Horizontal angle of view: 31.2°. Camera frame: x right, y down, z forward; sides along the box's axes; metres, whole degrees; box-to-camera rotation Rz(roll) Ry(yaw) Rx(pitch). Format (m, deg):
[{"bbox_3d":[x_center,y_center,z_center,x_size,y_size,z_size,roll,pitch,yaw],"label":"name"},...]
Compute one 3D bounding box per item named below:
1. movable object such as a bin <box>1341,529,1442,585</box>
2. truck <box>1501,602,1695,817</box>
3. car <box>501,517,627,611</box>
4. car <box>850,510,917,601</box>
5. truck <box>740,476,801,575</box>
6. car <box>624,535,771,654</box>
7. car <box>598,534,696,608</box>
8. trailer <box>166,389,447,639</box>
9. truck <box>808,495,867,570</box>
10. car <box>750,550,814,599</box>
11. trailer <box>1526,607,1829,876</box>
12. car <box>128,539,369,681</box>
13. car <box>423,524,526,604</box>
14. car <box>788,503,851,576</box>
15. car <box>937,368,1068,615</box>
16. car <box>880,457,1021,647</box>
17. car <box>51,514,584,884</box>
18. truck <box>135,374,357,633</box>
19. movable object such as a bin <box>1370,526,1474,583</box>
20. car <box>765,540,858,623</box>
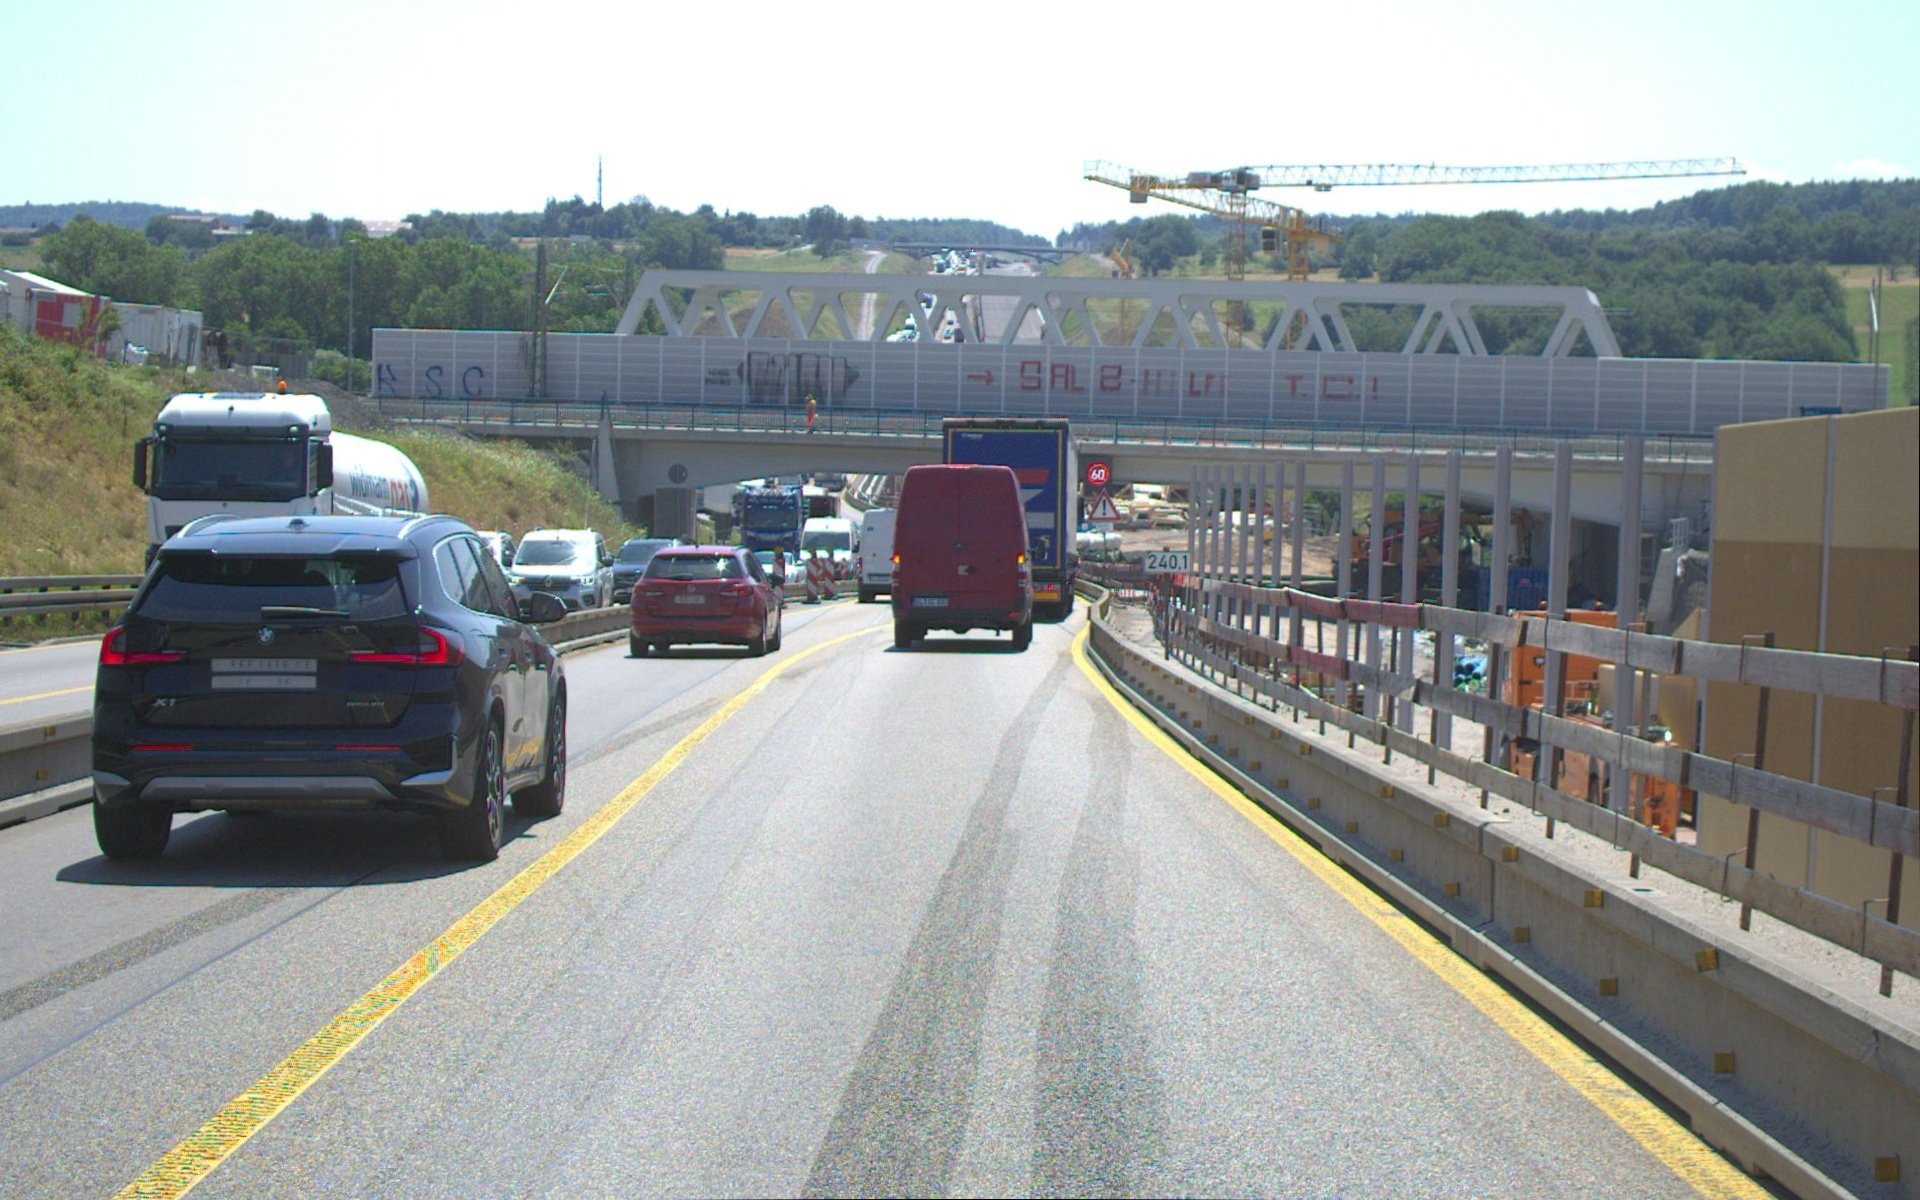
[{"bbox_3d":[22.777,-2.279,181.699,5.147,2.798,2.142,1,1,6],"label":"movable object such as a bin"},{"bbox_3d":[12.499,2.074,67.807,2.758,3.873,5.882,1,1,1],"label":"truck"},{"bbox_3d":[-7.551,-0.716,65.877,1.880,1.739,4.483,0,1,0],"label":"car"},{"bbox_3d":[-2.065,-1.246,94.069,1.776,2.433,4.206,0,1,-1],"label":"car"},{"bbox_3d":[-7.836,-3.089,142.612,2.357,4.001,4.001,1,1,-2],"label":"truck"},{"bbox_3d":[-3.484,-0.111,46.170,1.775,1.512,4.206,0,1,-2],"label":"car"},{"bbox_3d":[-7.208,-0.702,79.548,1.791,1.606,4.733,1,1,0],"label":"car"},{"bbox_3d":[-10.909,-1.453,58.698,2.590,3.788,11.918,1,1,-1],"label":"trailer"},{"bbox_3d":[-6.590,-3.674,186.247,2.834,3.839,12.913,1,1,-1],"label":"truck"},{"bbox_3d":[-5.581,-0.805,108.340,1.800,1.442,4.637,1,1,-1],"label":"car"},{"bbox_3d":[12.342,2.236,60.526,2.758,3.873,13.049,1,1,1],"label":"trailer"},{"bbox_3d":[-7.865,0.070,38.402,1.779,1.453,4.721,1,1,-1],"label":"car"},{"bbox_3d":[-10.971,-0.834,77.985,1.790,1.756,4.538,0,1,-1],"label":"car"},{"bbox_3d":[-5.214,-2.275,128.359,1.993,2.598,7.011,1,1,0],"label":"car"},{"bbox_3d":[0.828,-2.320,75.113,2.621,5.015,10.397,0,1,-1],"label":"car"},{"bbox_3d":[-0.100,-0.733,50.928,1.988,2.681,4.624,0,1,1],"label":"car"},{"bbox_3d":[-3.054,0.380,17.278,1.879,1.612,4.499,0,1,-1],"label":"car"},{"bbox_3d":[-10.870,-1.466,52.612,2.590,3.788,3.767,1,1,-1],"label":"truck"},{"bbox_3d":[23.569,-2.324,175.464,5.147,2.798,2.142,1,1,6],"label":"movable object such as a bin"},{"bbox_3d":[-3.082,-0.407,72.007,1.839,1.648,4.165,0,2,-1],"label":"car"}]
